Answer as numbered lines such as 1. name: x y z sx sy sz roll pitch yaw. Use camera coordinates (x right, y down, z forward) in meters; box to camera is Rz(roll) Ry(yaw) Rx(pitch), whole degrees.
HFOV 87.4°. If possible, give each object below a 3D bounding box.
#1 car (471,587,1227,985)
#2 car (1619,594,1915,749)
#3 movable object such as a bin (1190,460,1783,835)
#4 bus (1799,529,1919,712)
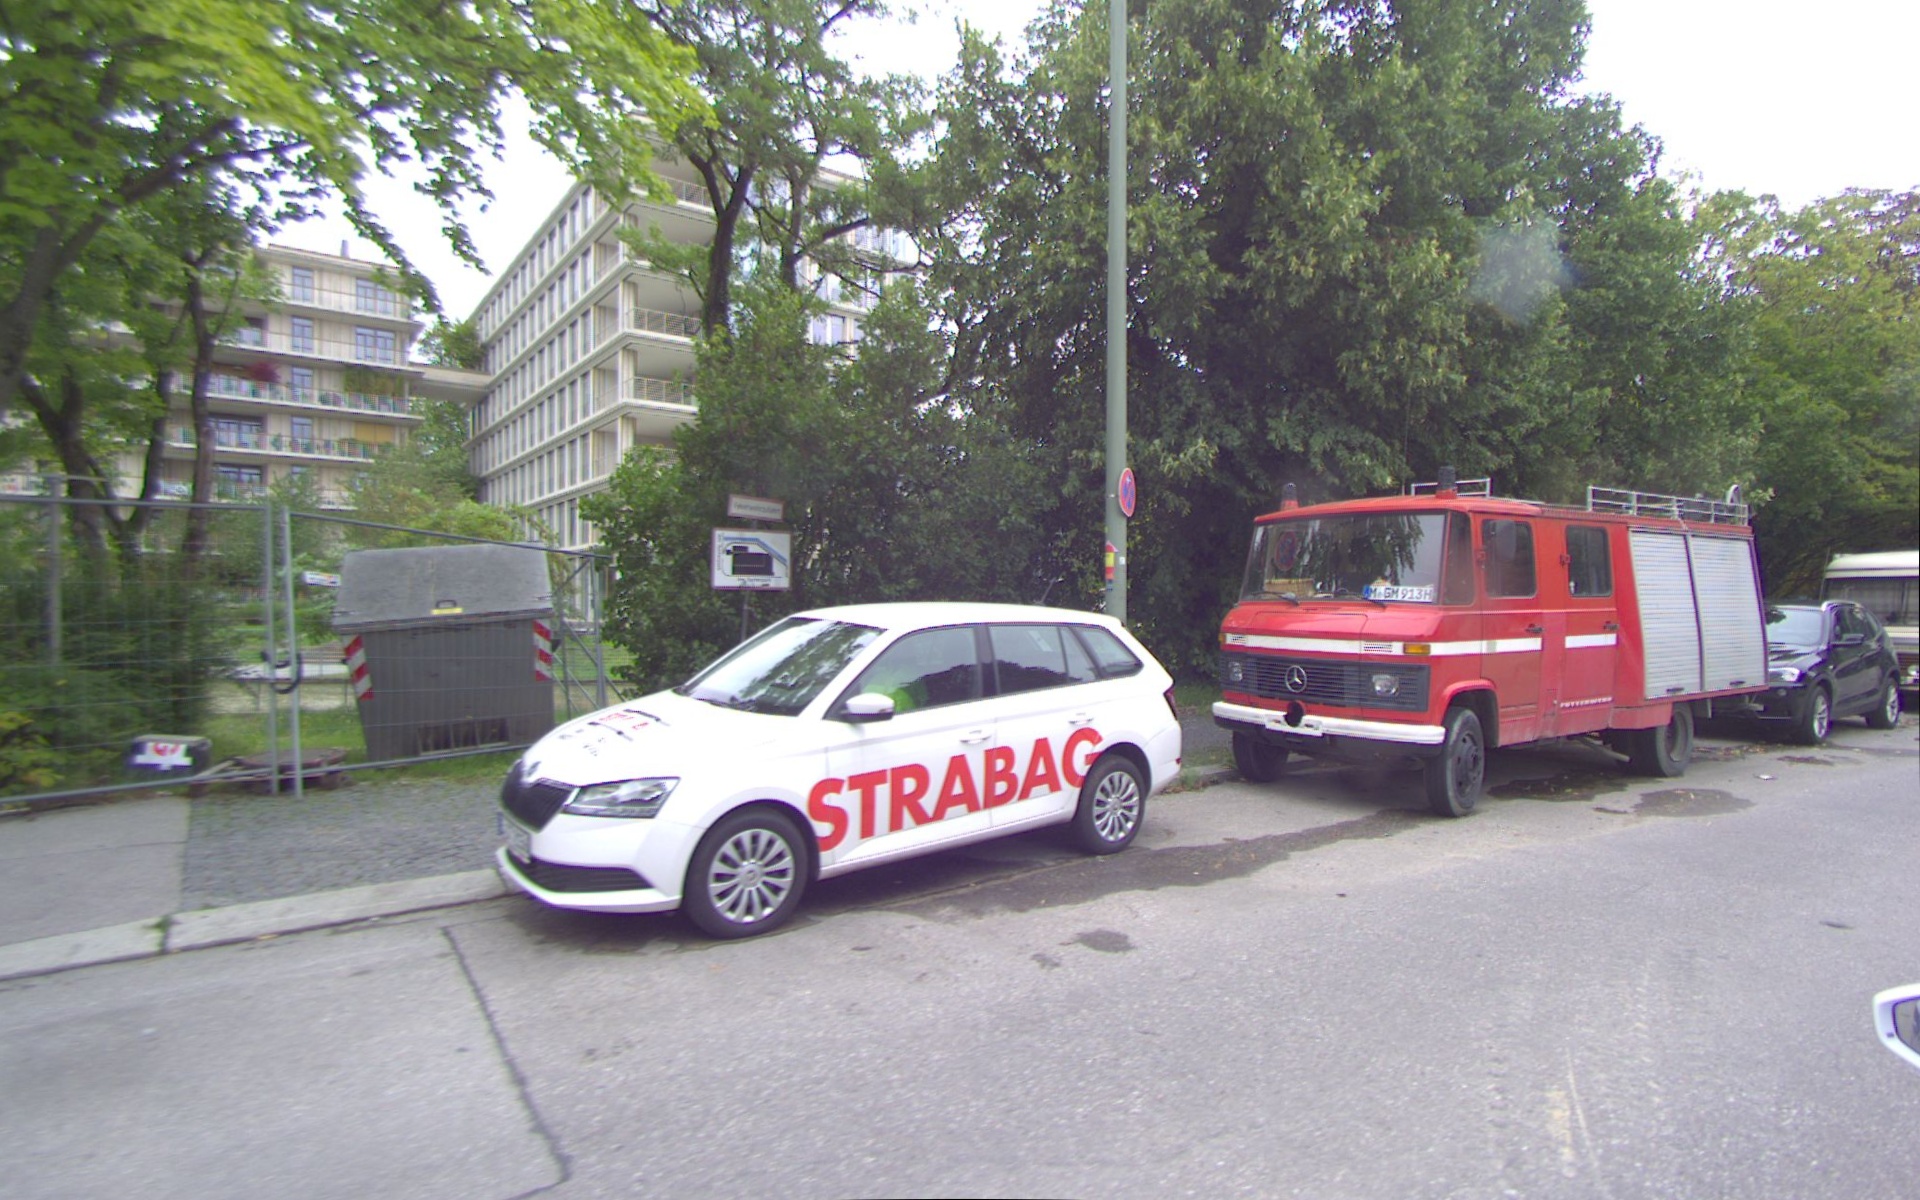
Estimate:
1. car: -0.422 0.761 5.986 4.220 1.570 1.762 1 -1 -39
2. car: 10.356 0.798 12.798 4.414 1.671 1.765 1 -1 -35
3. movable object such as a bin: 5.063 0.355 9.229 6.119 2.491 2.092 1 -1 -33
4. bus: 16.758 0.336 16.693 5.660 2.735 2.307 1 -1 -27
